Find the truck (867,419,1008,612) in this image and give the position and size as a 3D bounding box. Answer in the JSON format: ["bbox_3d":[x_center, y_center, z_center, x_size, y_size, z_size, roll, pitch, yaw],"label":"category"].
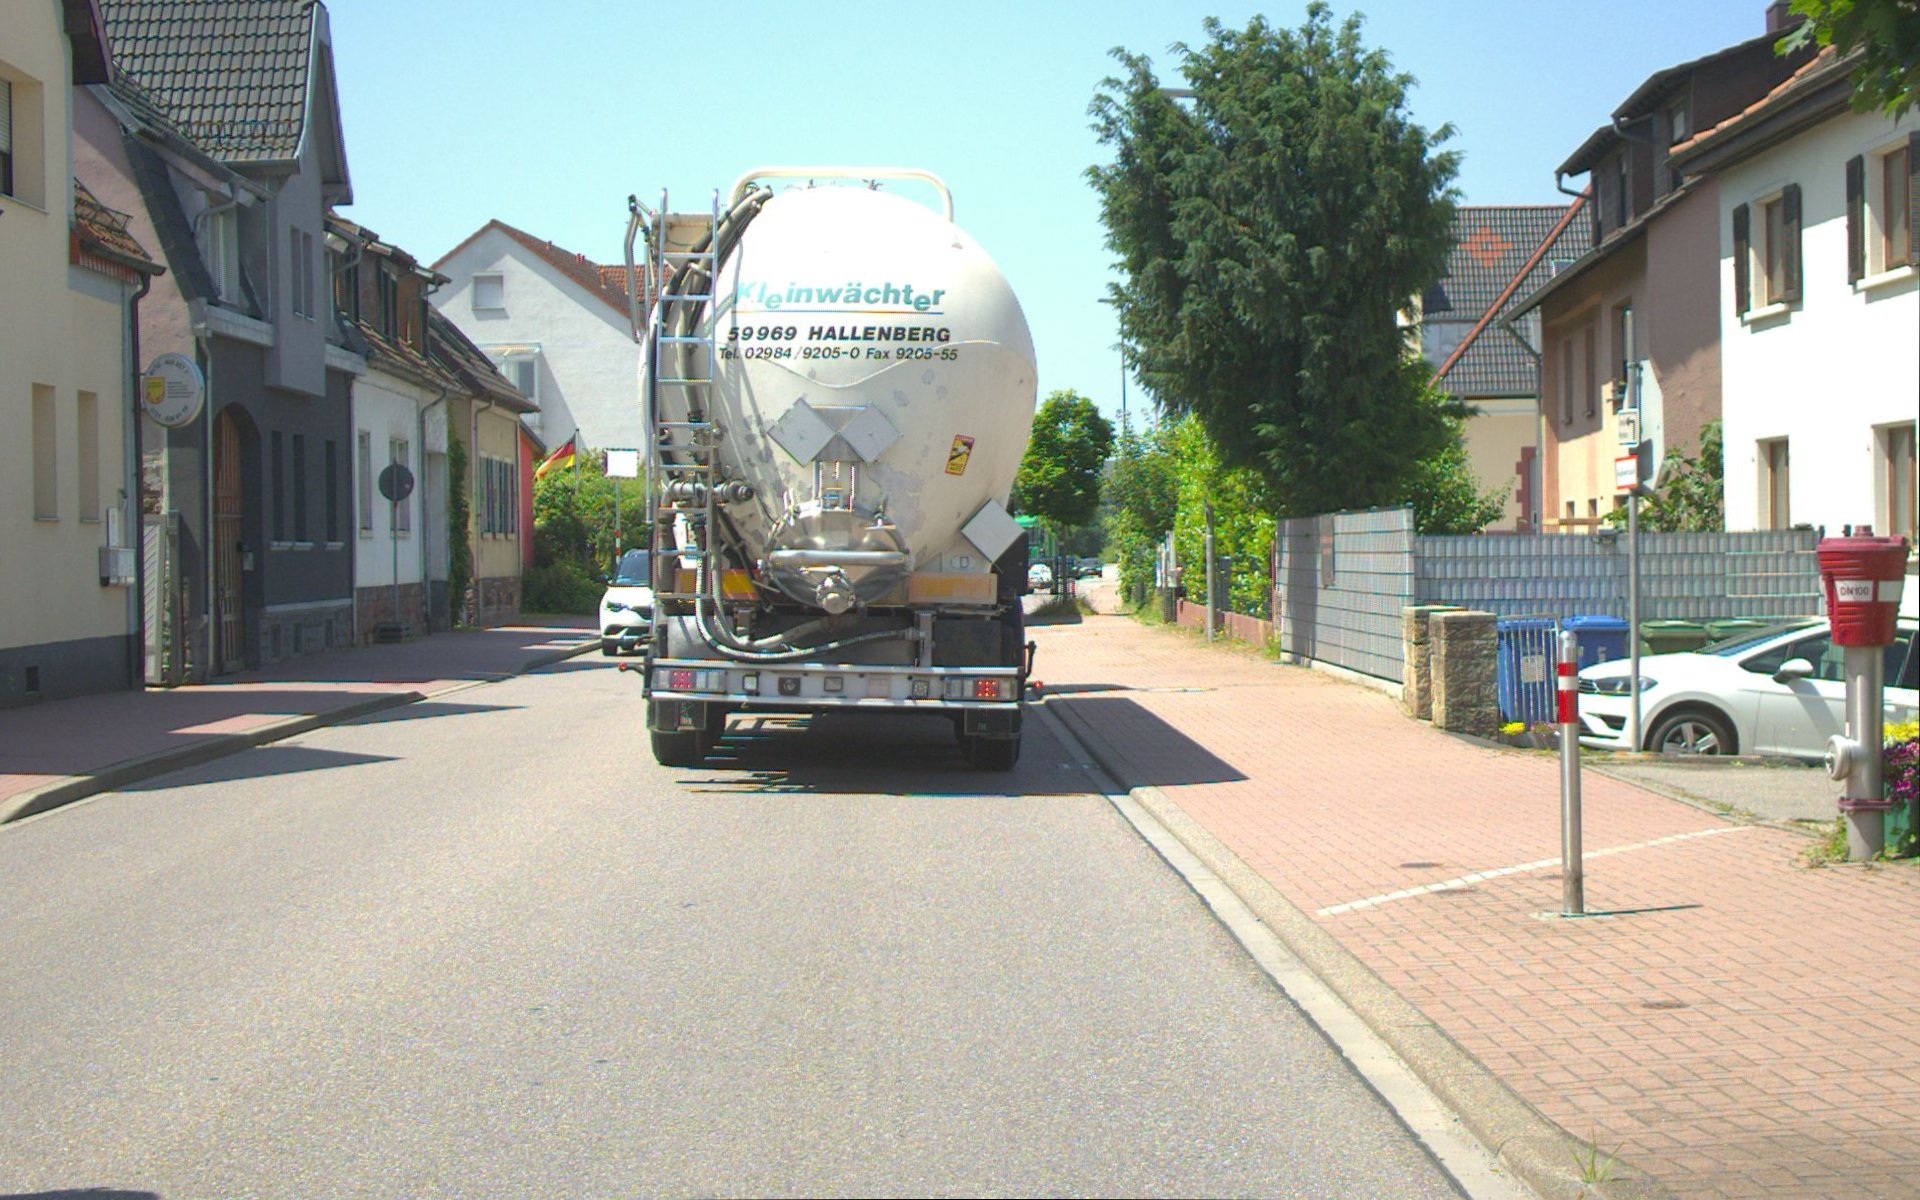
[{"bbox_3d":[-0.404,-1.756,74.811,2.732,3.946,8.141,1,0,2],"label":"truck"}]

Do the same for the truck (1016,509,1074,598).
[{"bbox_3d":[3.199,-1.745,127.977,1.993,3.126,9.448,1,1,2],"label":"truck"}]

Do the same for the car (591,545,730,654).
[{"bbox_3d":[-4.701,-0.033,54.446,1.851,1.566,4.255,-3,1,-1],"label":"car"}]

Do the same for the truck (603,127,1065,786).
[{"bbox_3d":[-0.871,-0.888,24.883,2.732,3.946,8.142,1,0,-2],"label":"truck"}]

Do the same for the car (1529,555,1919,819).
[{"bbox_3d":[6.816,0.771,26.997,4.170,1.581,1.907,9,0,0],"label":"car"}]
